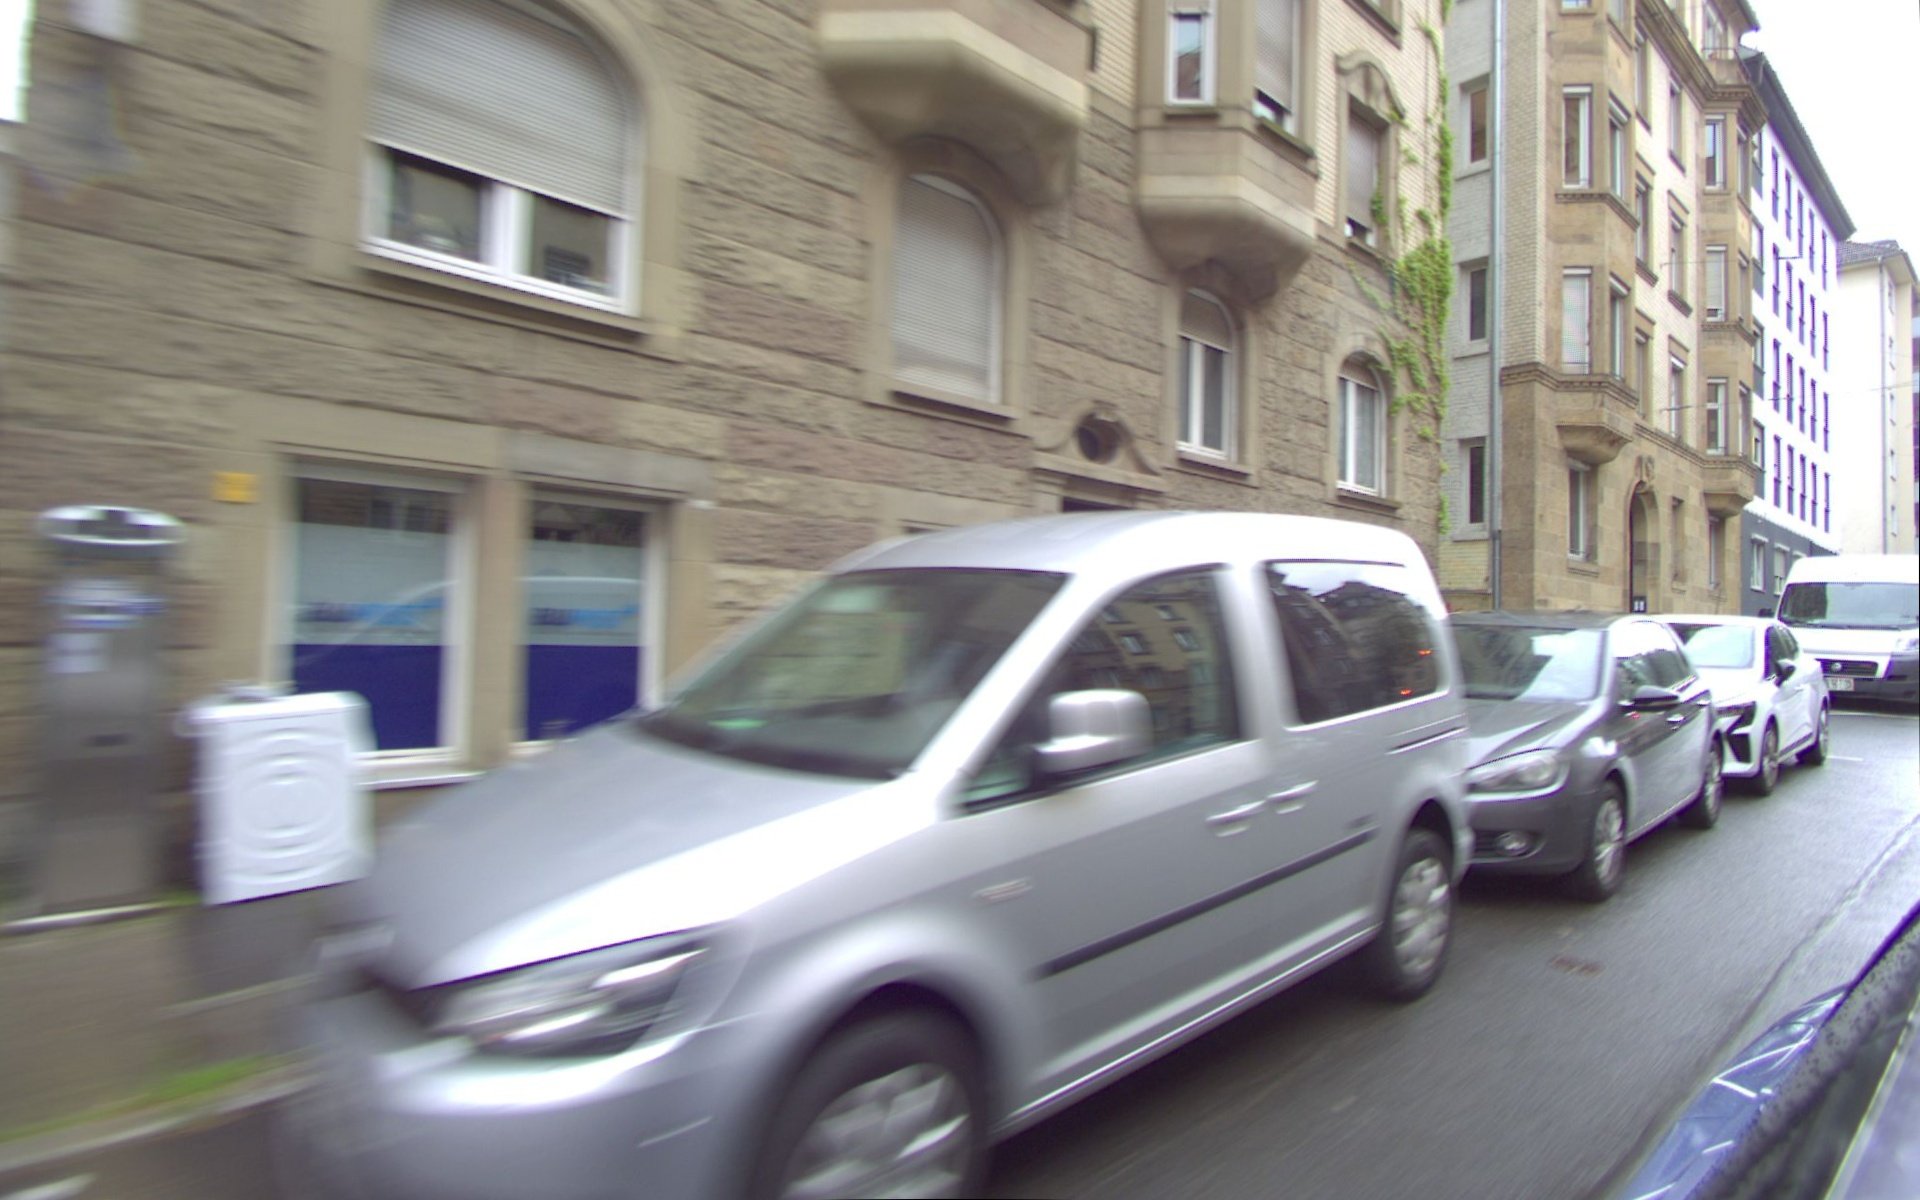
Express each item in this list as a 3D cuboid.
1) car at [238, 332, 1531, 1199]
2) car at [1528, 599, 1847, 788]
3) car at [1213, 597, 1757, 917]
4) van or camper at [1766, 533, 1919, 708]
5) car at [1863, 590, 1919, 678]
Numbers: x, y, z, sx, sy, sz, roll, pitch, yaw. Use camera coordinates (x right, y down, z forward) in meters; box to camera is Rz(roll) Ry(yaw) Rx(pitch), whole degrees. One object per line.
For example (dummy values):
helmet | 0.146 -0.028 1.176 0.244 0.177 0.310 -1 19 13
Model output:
car | 0.210 0.532 3.537 4.284 1.799 1.778 1 0 -41
car | 7.029 0.730 9.625 3.931 1.429 1.678 1 -1 -42
car | 3.666 0.733 6.767 3.931 1.459 1.996 0 0 -42
van or camper | 15.505 0.295 16.967 6.011 2.500 2.068 0 0 -41
car | 21.683 0.723 22.570 4.404 1.831 1.771 1 -1 -41
